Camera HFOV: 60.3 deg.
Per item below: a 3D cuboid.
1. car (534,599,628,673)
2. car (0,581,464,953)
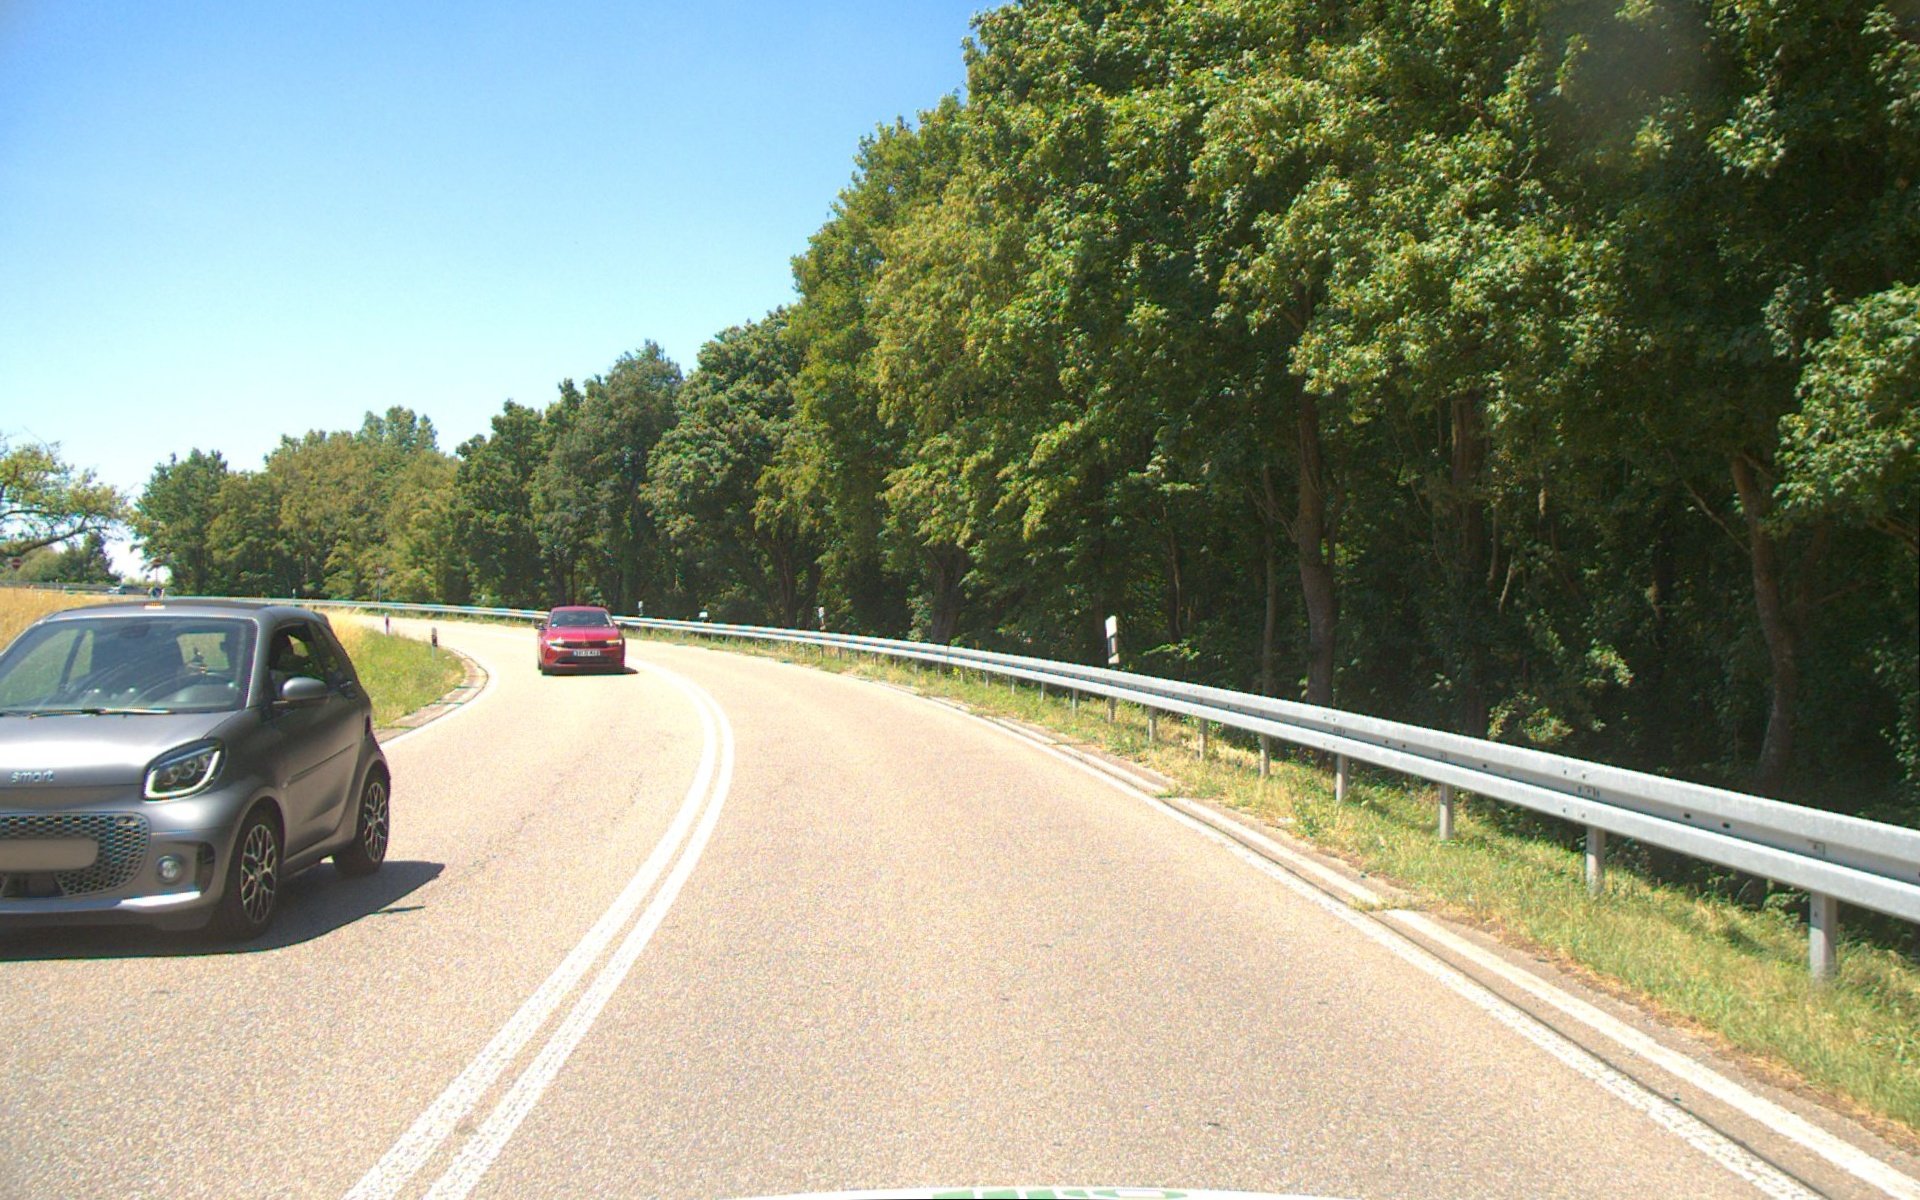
[{"bbox_3d":[-8.370,0.829,36.805,1.789,1.483,4.388,-2,-2,-10],"label":"car"},{"bbox_3d":[-4.045,0.720,8.998,1.701,1.533,4.069,-2,0,-4],"label":"car"}]
